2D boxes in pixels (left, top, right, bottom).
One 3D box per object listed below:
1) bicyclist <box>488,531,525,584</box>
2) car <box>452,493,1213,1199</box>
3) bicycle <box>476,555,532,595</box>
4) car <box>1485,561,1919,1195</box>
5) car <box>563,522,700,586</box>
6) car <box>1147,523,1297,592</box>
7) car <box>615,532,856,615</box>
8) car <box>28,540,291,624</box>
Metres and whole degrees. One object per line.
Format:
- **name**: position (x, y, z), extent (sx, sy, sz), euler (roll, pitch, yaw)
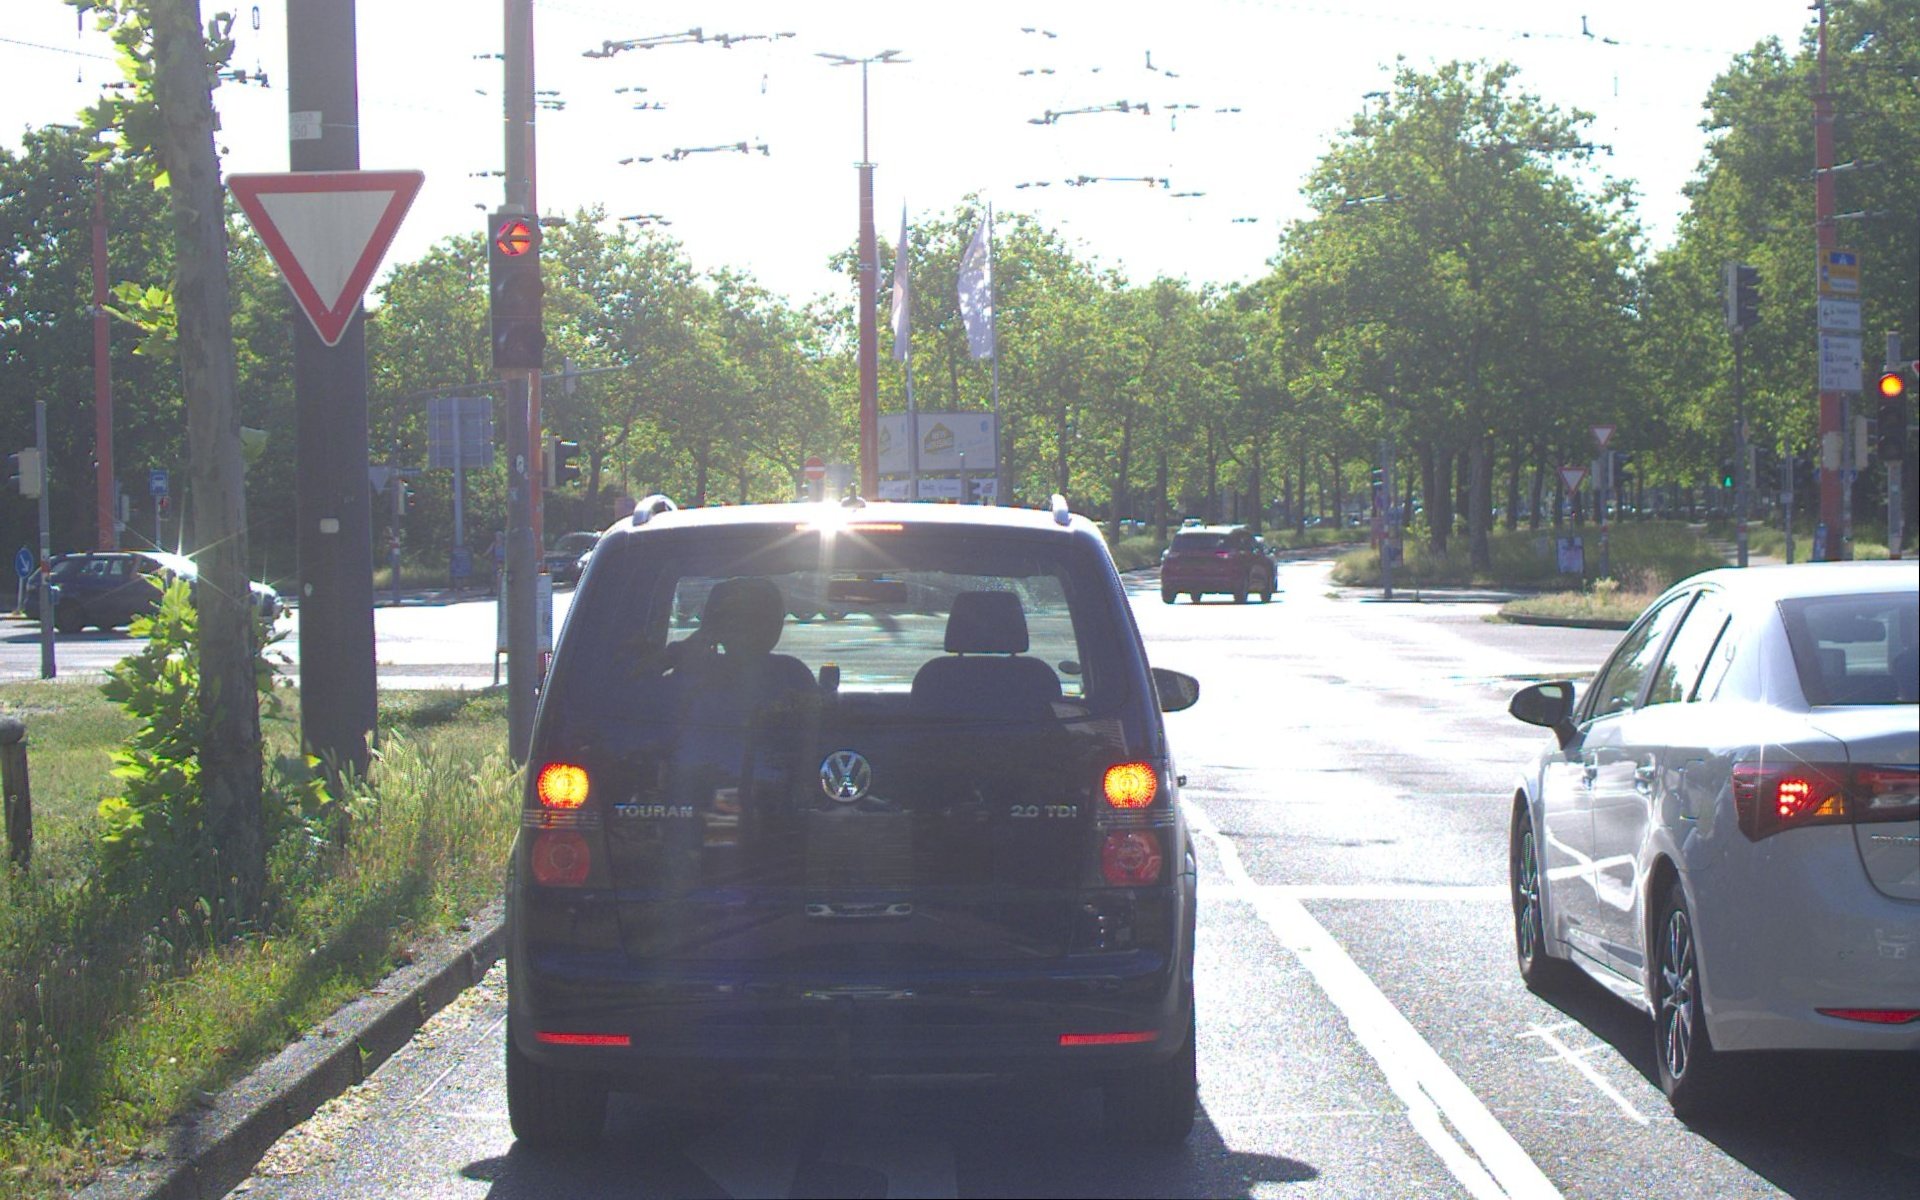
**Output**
- **bicyclist**: position (-12.488, -1.162, 94.645), extent (0.693, 1.452, 0.874), euler (0, 1, 18)
- **car**: position (-0.313, 0.544, 9.893), extent (1.737, 1.635, 4.000), euler (0, 1, -1)
- **bicycle**: position (-12.519, -0.693, 94.433), extent (0.735, 1.086, 1.959), euler (0, 1, 18)
- **car**: position (2.691, 0.628, 10.094), extent (1.715, 1.449, 4.144), euler (0, 1, 1)
- **car**: position (-8.867, -1.268, 93.239), extent (1.995, 1.679, 4.825), euler (0, 1, 17)
- **car**: position (5.760, -0.954, 75.127), extent (1.910, 1.459, 4.368), euler (0, 1, 24)
- **car**: position (-4.151, -0.506, 63.466), extent (4.042, 1.459, 1.915), euler (-1, 1, -22)
- **car**: position (-14.337, -0.338, 61.709), extent (4.227, 1.459, 1.914), euler (0, 1, 3)
